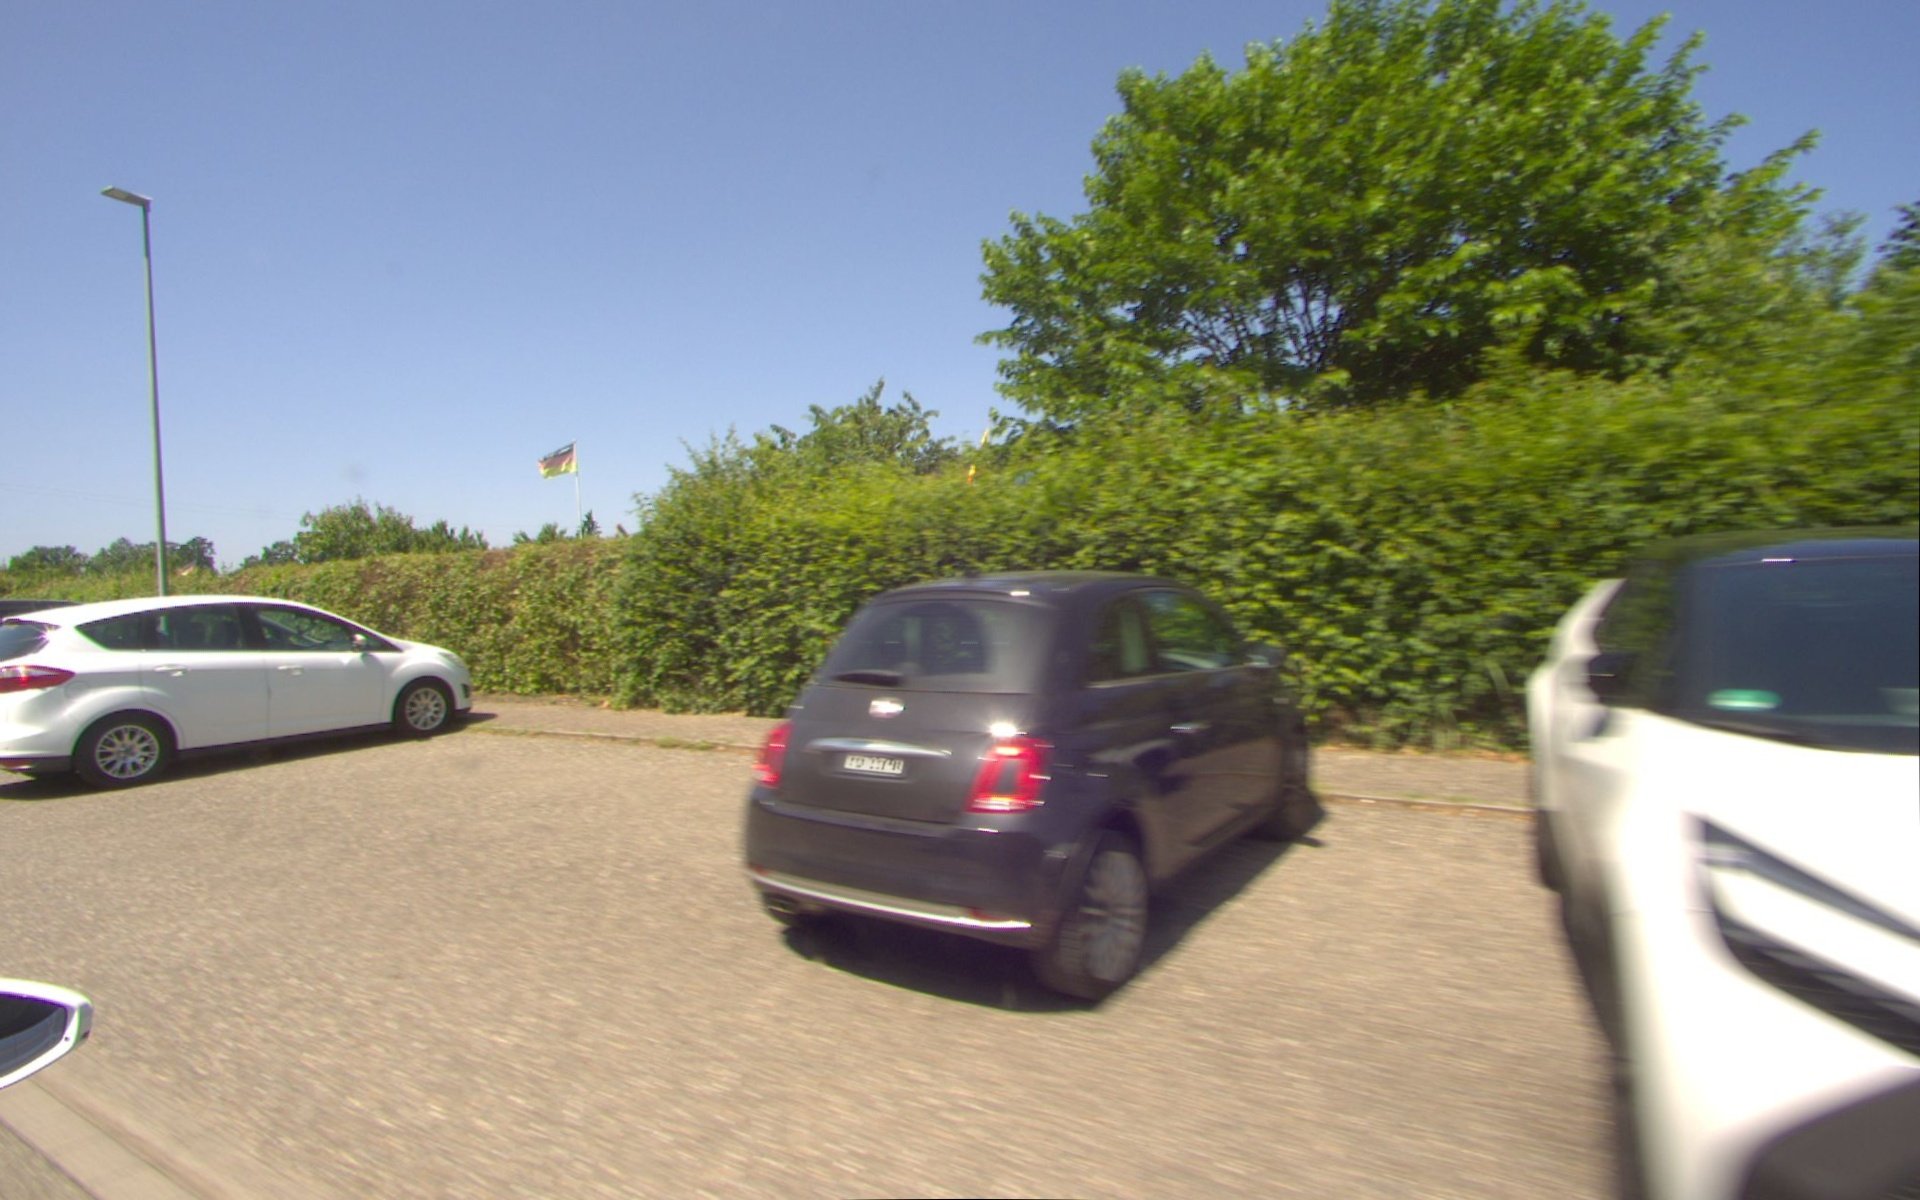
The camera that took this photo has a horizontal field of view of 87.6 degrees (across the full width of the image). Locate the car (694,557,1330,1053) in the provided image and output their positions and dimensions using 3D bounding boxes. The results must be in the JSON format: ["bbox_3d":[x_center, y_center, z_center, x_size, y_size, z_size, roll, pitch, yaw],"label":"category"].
[{"bbox_3d":[0.563,0.583,4.918,1.566,1.524,3.376,0,2,35],"label":"car"}]

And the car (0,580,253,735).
[{"bbox_3d":[-12.409,0.743,13.322,1.922,1.829,4.446,-2,2,28],"label":"car"}]

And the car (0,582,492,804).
[{"bbox_3d":[-7.204,0.703,10.054,1.739,1.600,4.267,-1,2,30],"label":"car"}]

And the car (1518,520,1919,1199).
[{"bbox_3d":[2.713,0.568,2.756,1.834,1.544,3.957,-1,3,26],"label":"car"}]
